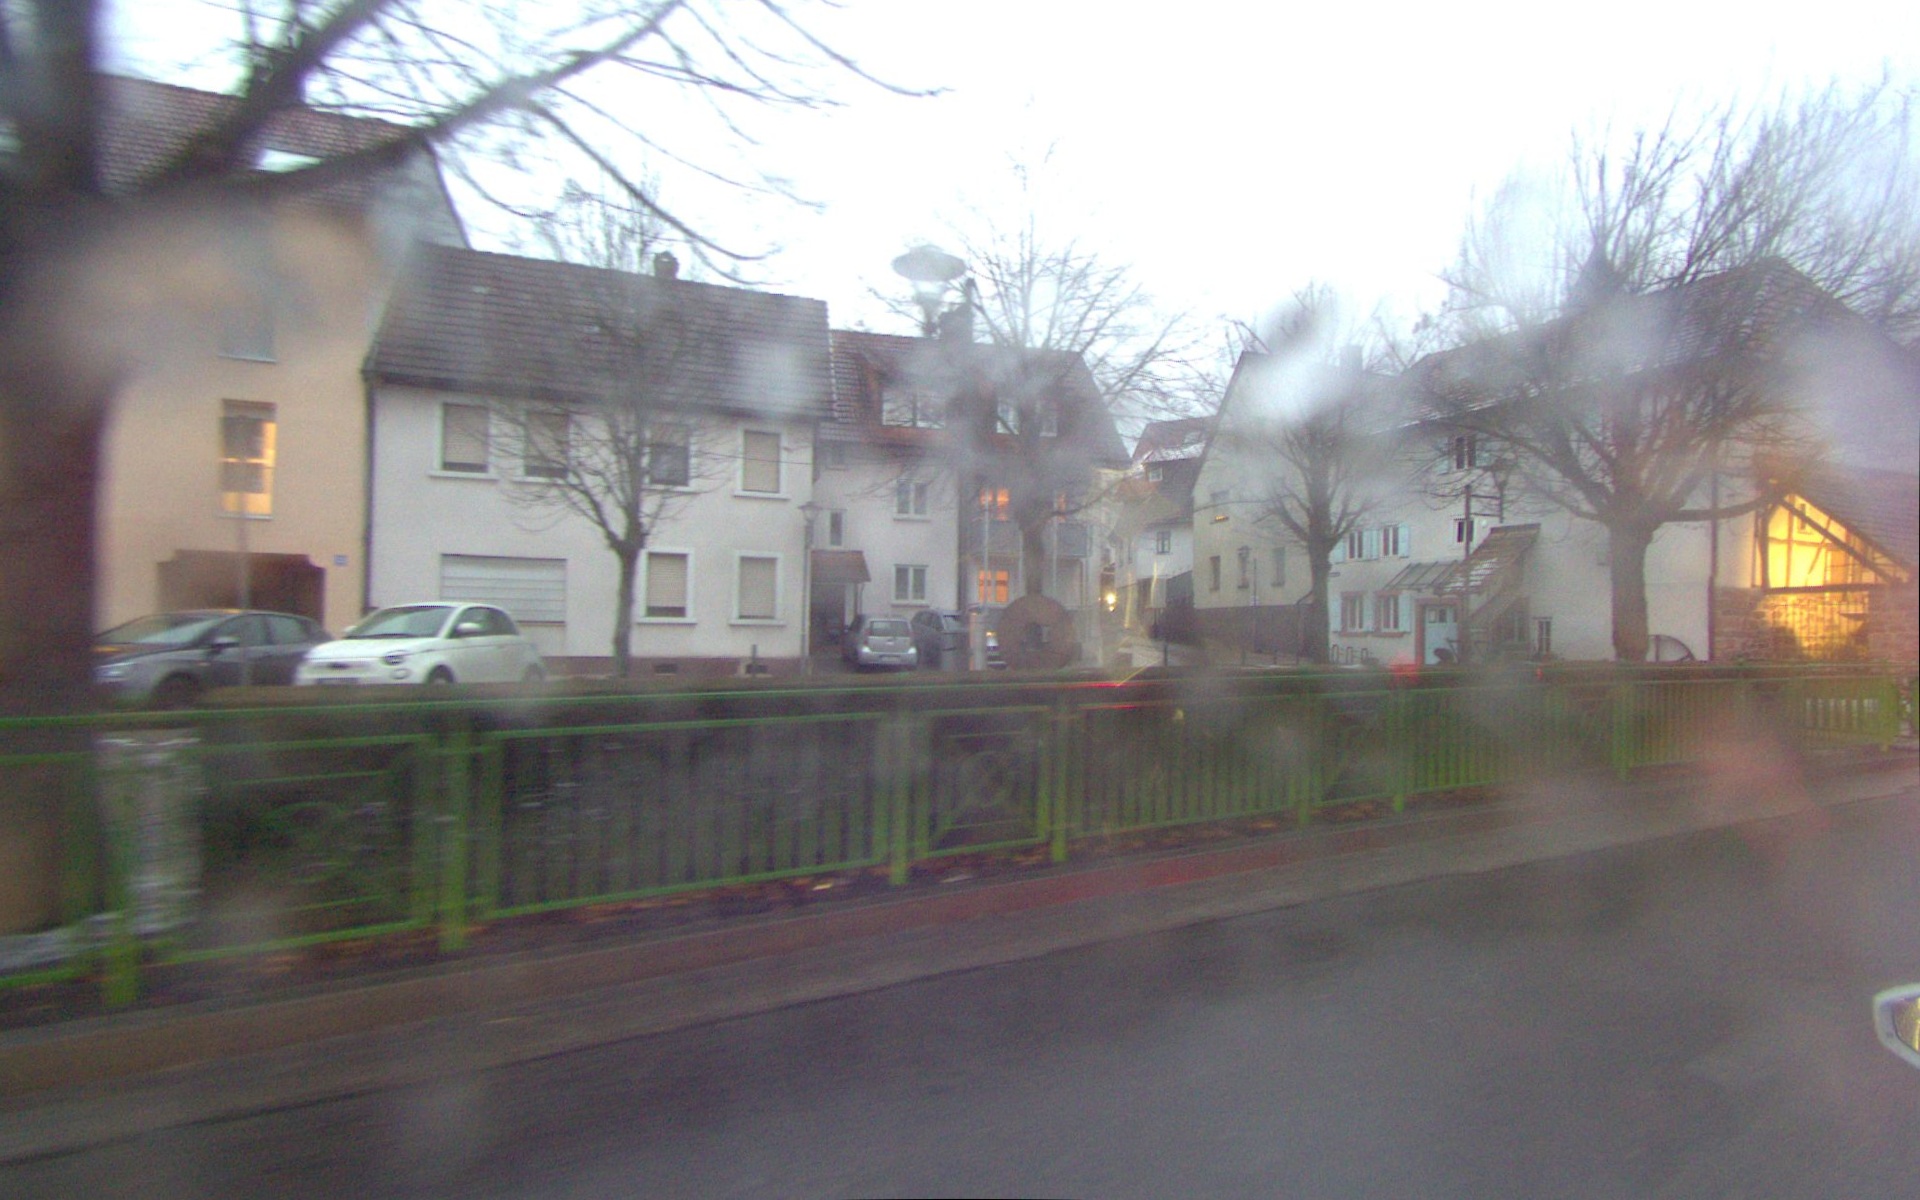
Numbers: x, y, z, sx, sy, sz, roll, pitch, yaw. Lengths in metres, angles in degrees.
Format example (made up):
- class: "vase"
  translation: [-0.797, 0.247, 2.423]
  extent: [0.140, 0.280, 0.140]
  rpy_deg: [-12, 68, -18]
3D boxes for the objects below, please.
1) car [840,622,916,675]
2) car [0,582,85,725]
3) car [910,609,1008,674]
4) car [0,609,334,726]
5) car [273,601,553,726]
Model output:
- class: "car"
  translation: [-2.326, 1.301, 27.932]
  extent: [1.504, 1.142, 3.043]
  rpy_deg: [1, 3, -16]
- class: "car"
  translation: [-11.821, 0.601, 10.746]
  extent: [1.578, 1.633, 3.636]
  rpy_deg: [1, 0, 4]
- class: "car"
  translation: [-0.099, 1.119, 28.702]
  extent: [1.687, 1.634, 3.593]
  rpy_deg: [1, 1, -20]
- class: "car"
  translation: [-9.509, 0.737, 12.337]
  extent: [1.578, 1.236, 3.057]
  rpy_deg: [1, 0, 4]
- class: "car"
  translation: [-7.102, 0.745, 13.452]
  extent: [1.578, 1.428, 3.487]
  rpy_deg: [1, 0, 6]
